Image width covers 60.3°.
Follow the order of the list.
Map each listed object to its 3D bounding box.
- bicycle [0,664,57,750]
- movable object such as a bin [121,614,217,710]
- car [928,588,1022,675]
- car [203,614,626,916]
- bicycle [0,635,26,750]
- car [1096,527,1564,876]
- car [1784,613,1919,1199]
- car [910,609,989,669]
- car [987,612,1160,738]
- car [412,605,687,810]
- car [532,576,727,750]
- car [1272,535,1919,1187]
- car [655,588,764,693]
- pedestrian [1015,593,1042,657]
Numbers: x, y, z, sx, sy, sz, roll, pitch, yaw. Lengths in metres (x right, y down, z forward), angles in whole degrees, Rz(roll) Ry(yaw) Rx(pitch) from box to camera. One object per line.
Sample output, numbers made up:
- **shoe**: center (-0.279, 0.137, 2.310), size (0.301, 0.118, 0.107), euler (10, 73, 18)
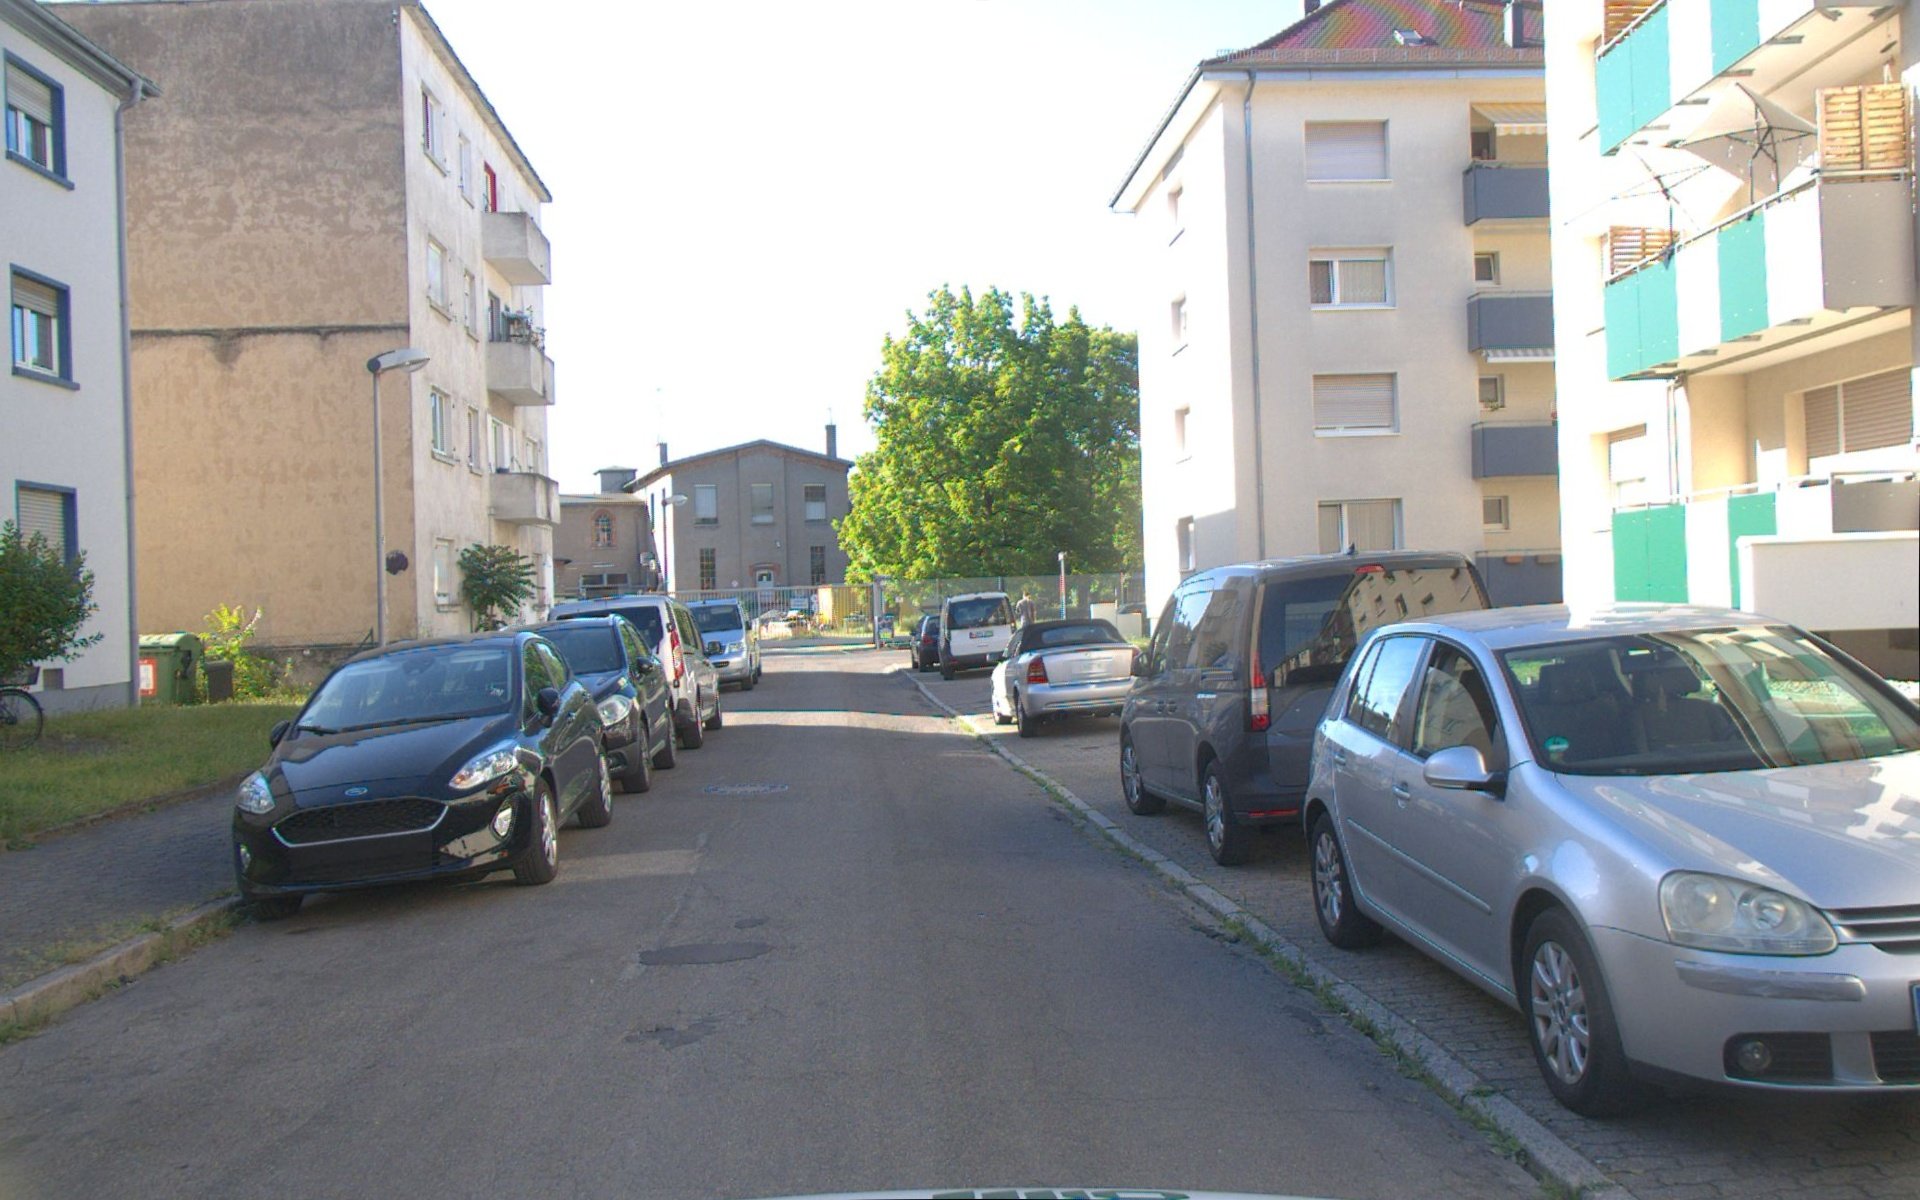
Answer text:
- **bicycle**: center (-11.567, 1.288, 19.374), size (1.614, 0.953, 0.547), euler (-4, -1, -3)
- **movable object such as a bin**: center (-13.665, 1.060, 28.612), size (1.048, 1.566, 1.355), euler (-3, -1, -7)
- **car**: center (0.287, 0.723, 38.016), size (1.731, 1.770, 4.090), euler (-3, -1, -4)
- **car**: center (-3.241, 0.894, 10.600), size (1.626, 1.468, 3.867), euler (-3, -1, -5)
- **bicycle**: center (-11.053, 0.926, 16.753), size (2.621, 1.150, 0.771), euler (1, -1, -11)
- **car**: center (2.277, 0.621, 11.497), size (1.860, 1.888, 4.338), euler (-2, -1, -6)
- **car**: center (2.874, 0.683, 1.657), size (1.703, 1.456, 4.353), euler (-4, -1, -2)
- **car**: center (-0.312, 1.023, 43.476), size (1.731, 1.386, 4.090), euler (-3, -1, -4)
- **car**: center (1.412, 0.920, 21.993), size (1.683, 1.388, 4.051), euler (-3, 0, -4)
- **car**: center (-3.644, 0.906, 15.382), size (1.797, 1.542, 3.995), euler (-3, -1, -5)
- **car**: center (-4.029, 0.762, 20.786), size (1.859, 1.888, 4.190), euler (-2, -1, -5)
- **car**: center (2.531, 0.657, 6.246), size (1.648, 1.615, 4.009), euler (-3, -1, -4)
- **car**: center (-5.417, 0.880, 36.269), size (1.955, 2.049, 4.449), euler (-3, -1, -5)
- **pedestrian**: center (2.023, 0.731, 48.779), size (0.640, 1.847, 0.614), euler (-3, -1, 5)
